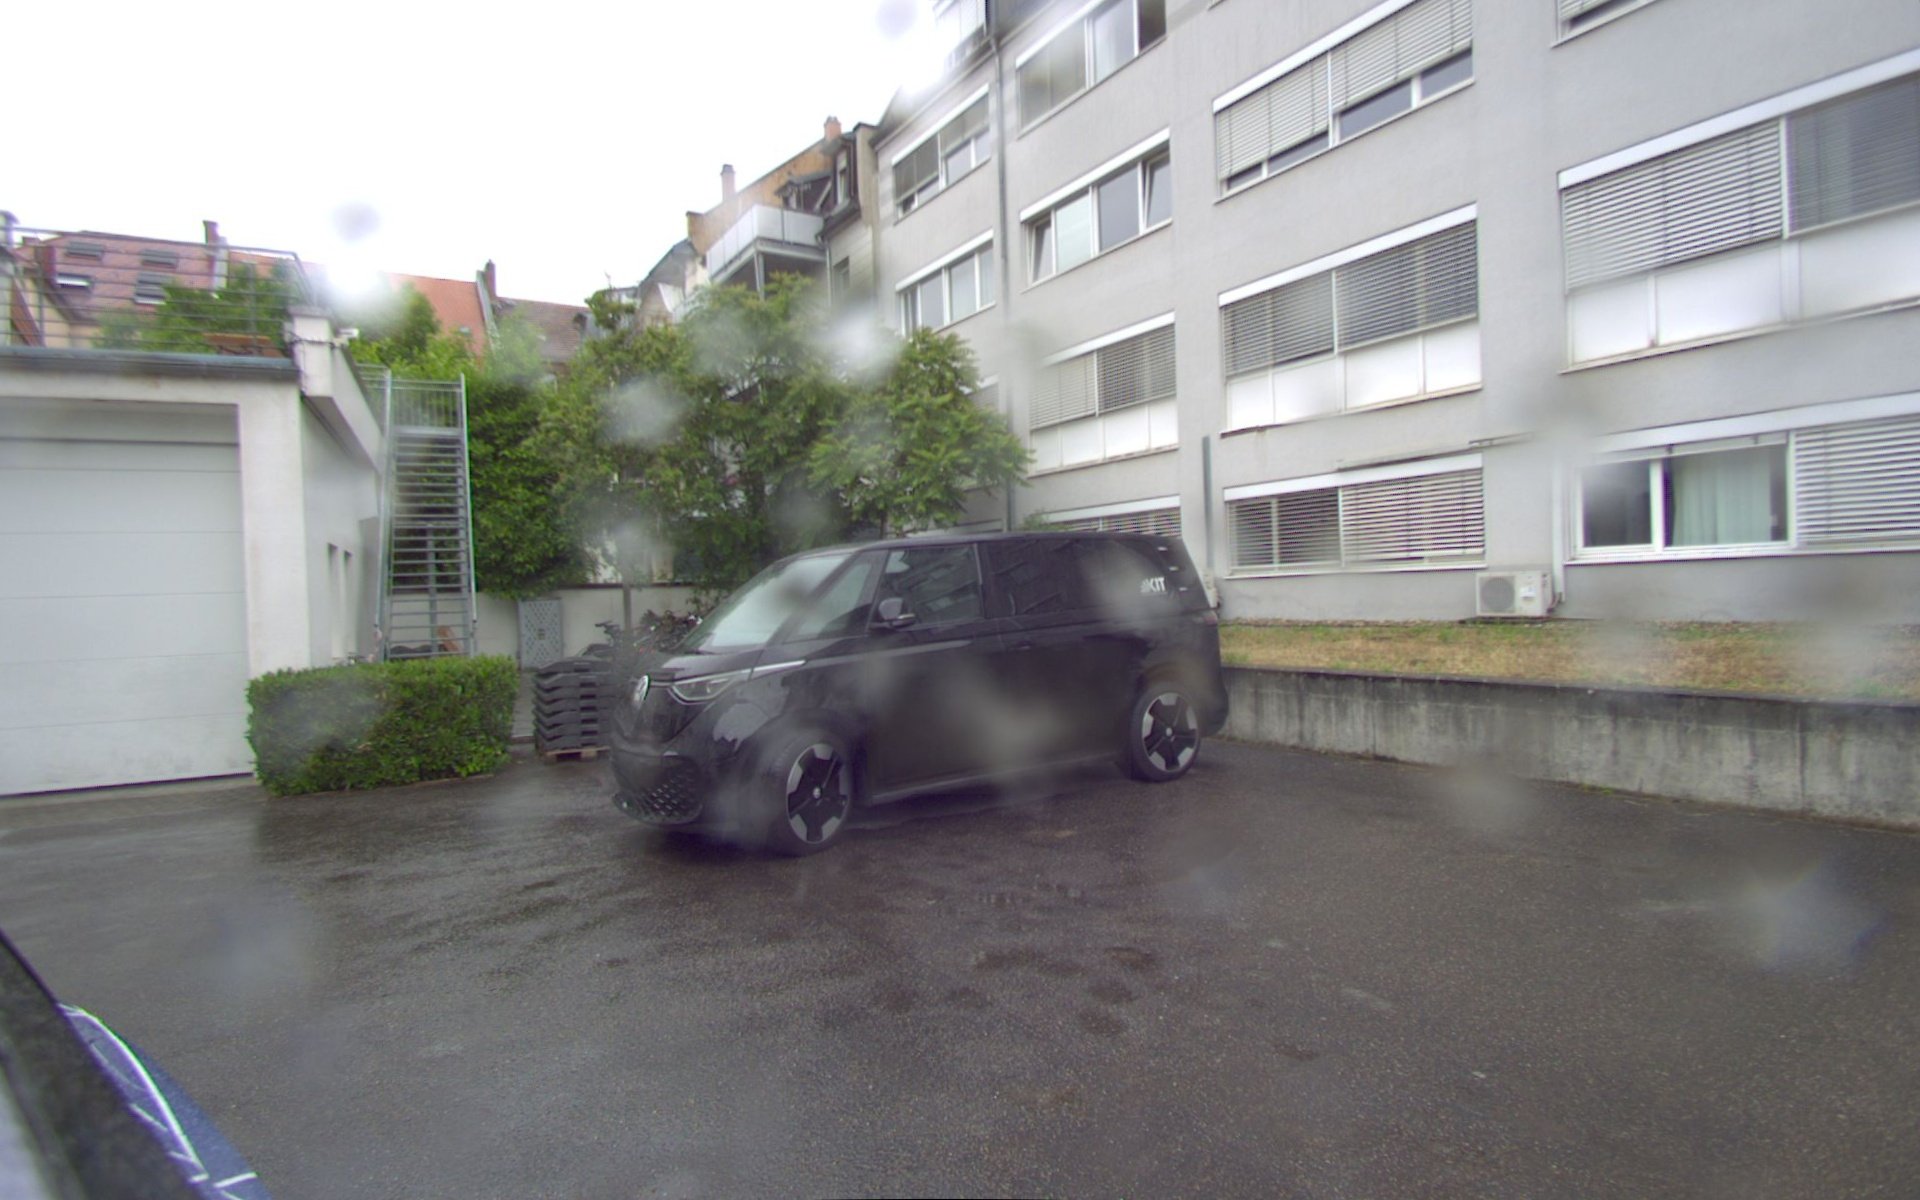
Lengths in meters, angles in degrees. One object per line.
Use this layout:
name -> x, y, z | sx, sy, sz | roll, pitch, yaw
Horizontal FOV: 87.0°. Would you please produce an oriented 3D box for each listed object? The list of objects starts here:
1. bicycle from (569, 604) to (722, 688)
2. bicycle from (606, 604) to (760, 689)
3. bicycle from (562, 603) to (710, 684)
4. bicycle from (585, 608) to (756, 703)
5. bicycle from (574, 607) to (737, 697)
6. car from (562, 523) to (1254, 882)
bicycle -> -5.128, 0.725, 16.543 | 2.281, 1.195, 0.645 | -3, 3, -26
bicycle -> -4.449, 0.718, 16.314 | 2.281, 1.195, 0.645 | -3, 3, -26
bicycle -> -5.454, 0.710, 17.090 | 2.281, 1.195, 0.645 | -3, 3, -26
bicycle -> -4.211, 0.777, 14.795 | 2.281, 1.195, 0.645 | -3, 3, -26
bicycle -> -4.639, 0.759, 15.477 | 2.281, 1.195, 0.645 | -3, 3, -26
car -> -0.233, 0.469, 7.339 | 4.554, 1.850, 1.993 | -3, -1, -34
